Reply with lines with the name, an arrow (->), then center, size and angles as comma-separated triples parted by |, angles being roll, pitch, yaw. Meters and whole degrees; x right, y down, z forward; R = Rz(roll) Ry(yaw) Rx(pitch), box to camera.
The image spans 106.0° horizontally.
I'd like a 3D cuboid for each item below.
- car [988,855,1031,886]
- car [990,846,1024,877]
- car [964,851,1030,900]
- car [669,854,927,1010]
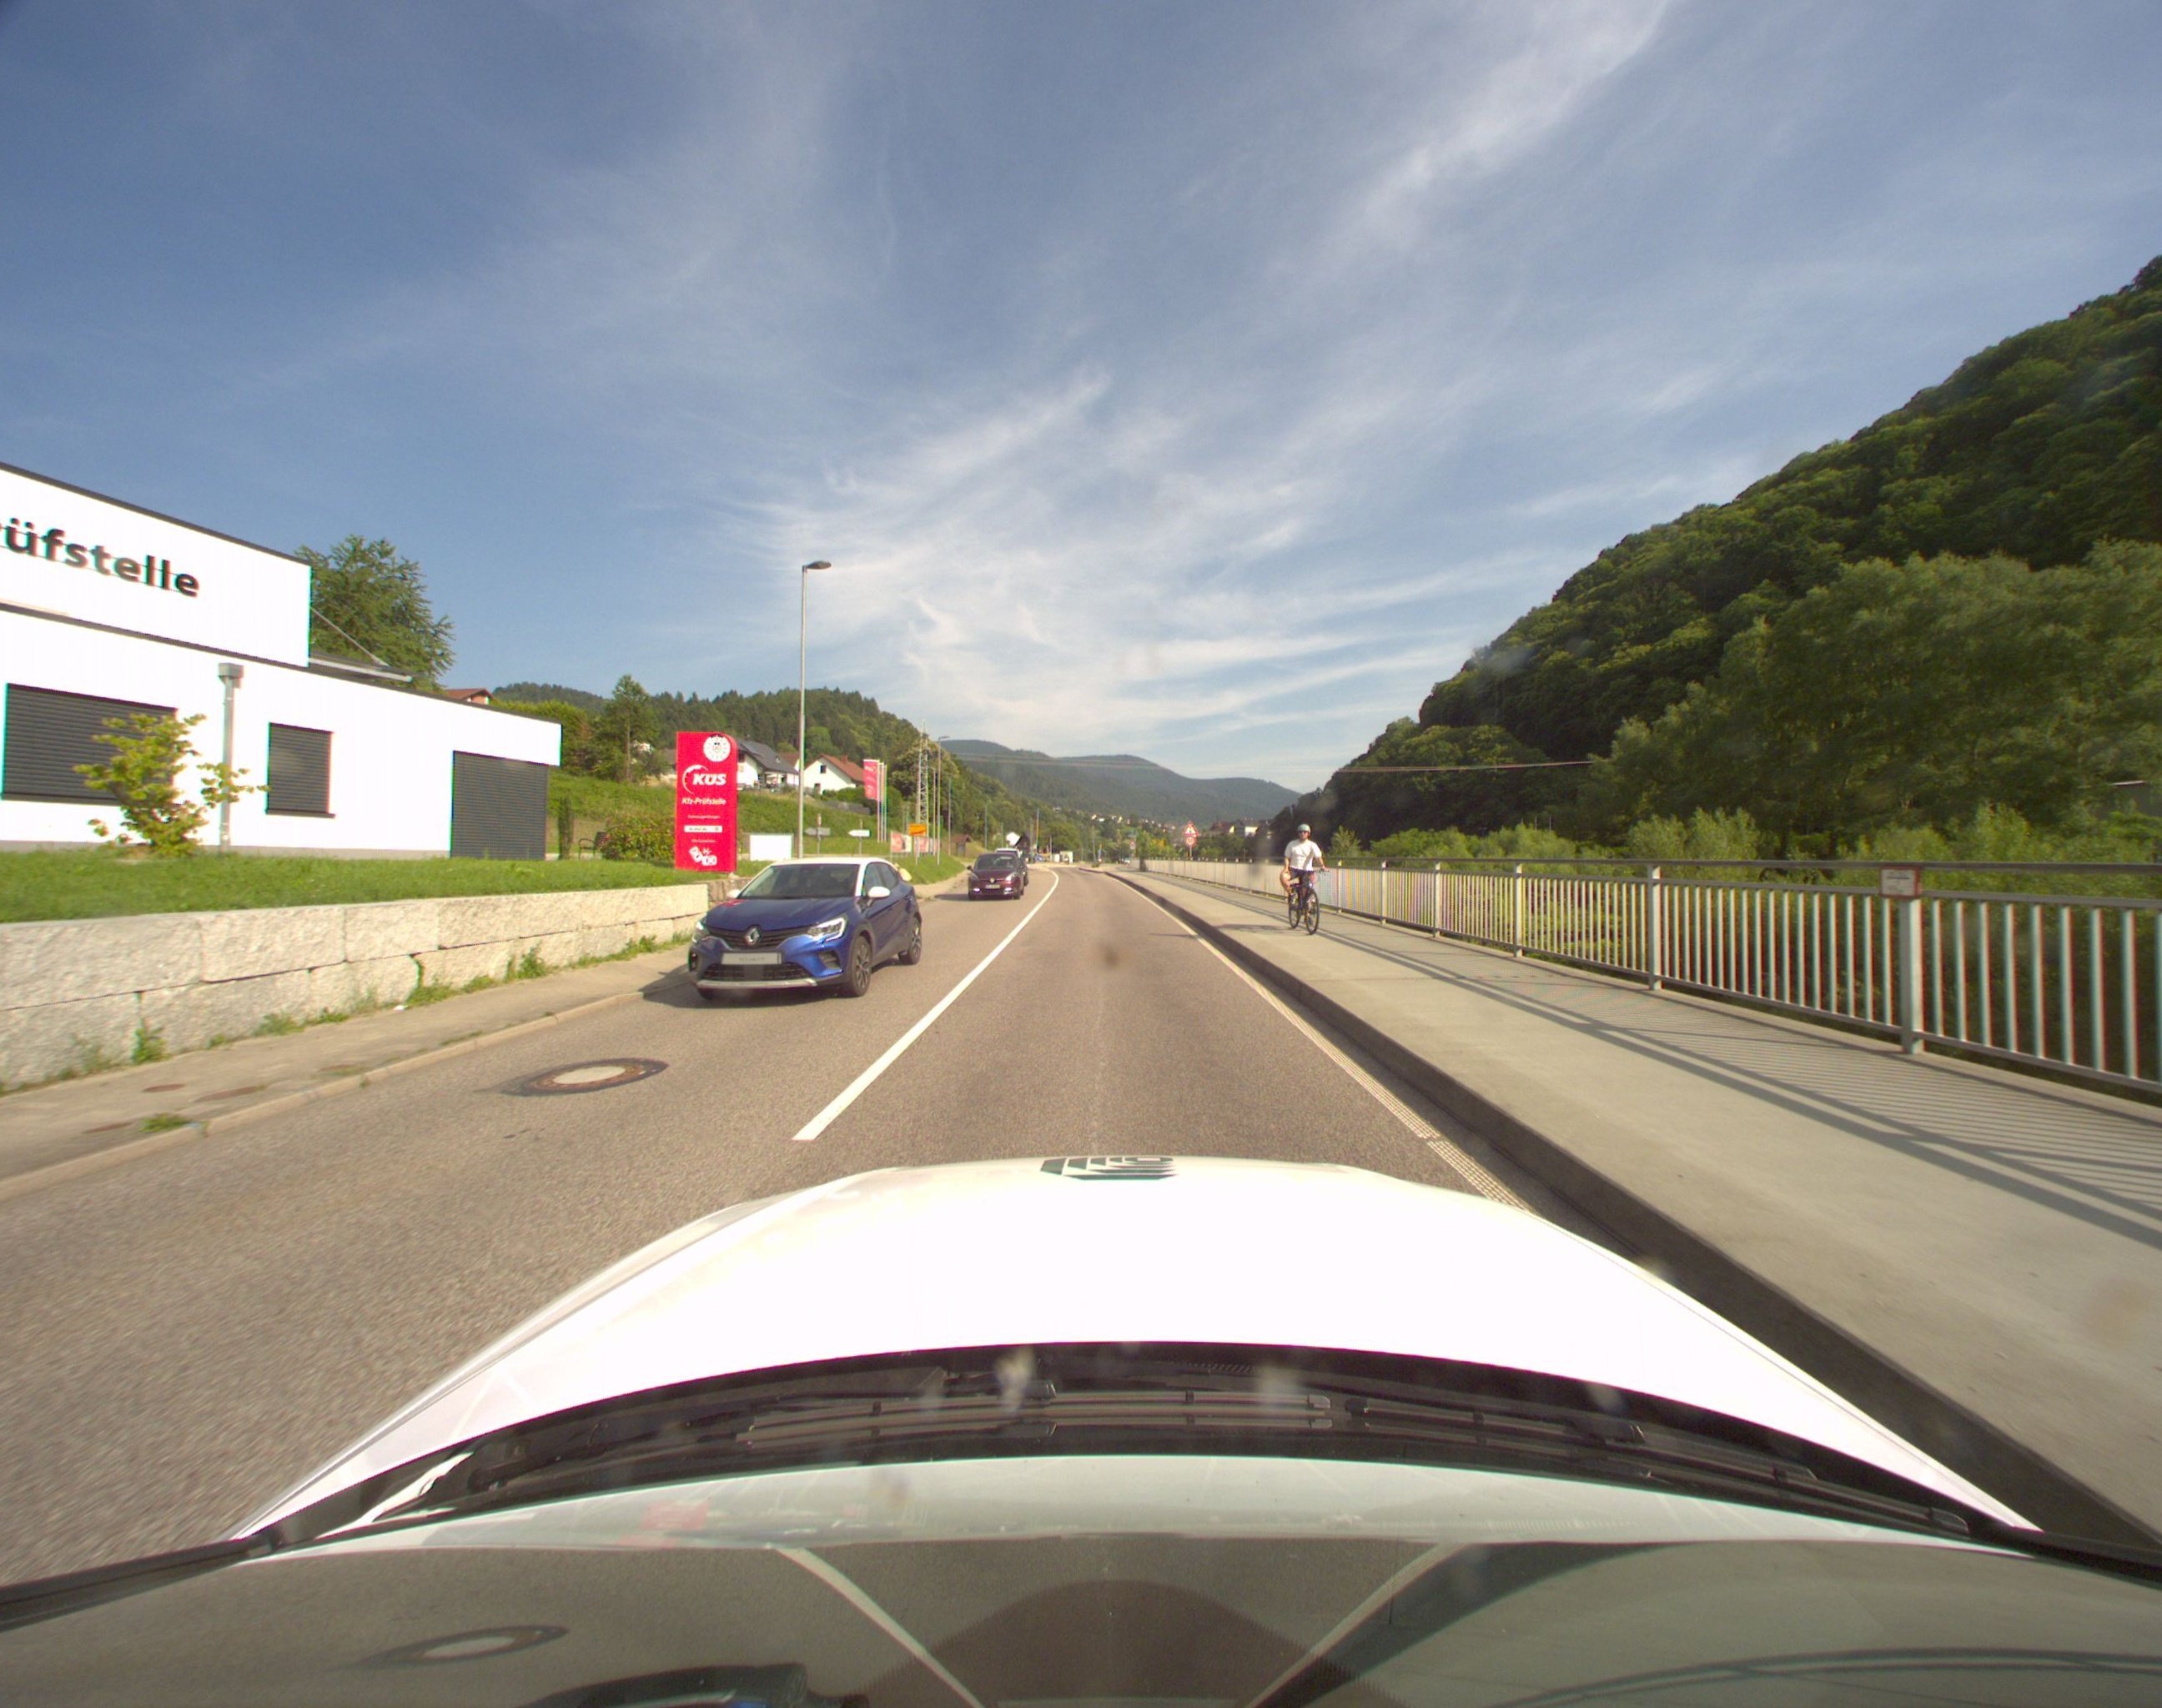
car -> -3.503, 0.776, 40.443 | 1.768, 1.399, 4.232 | -1, 0, -1
car -> -4.875, 0.466, 54.228 | 1.892, 1.887, 5.290 | -2, 0, -3
car -> -2.933, 0.697, 29.348 | 1.790, 1.618, 4.463 | -1, 0, 1
car -> -3.233, 0.791, 10.205 | 1.738, 1.526, 4.001 | -1, 0, 1
